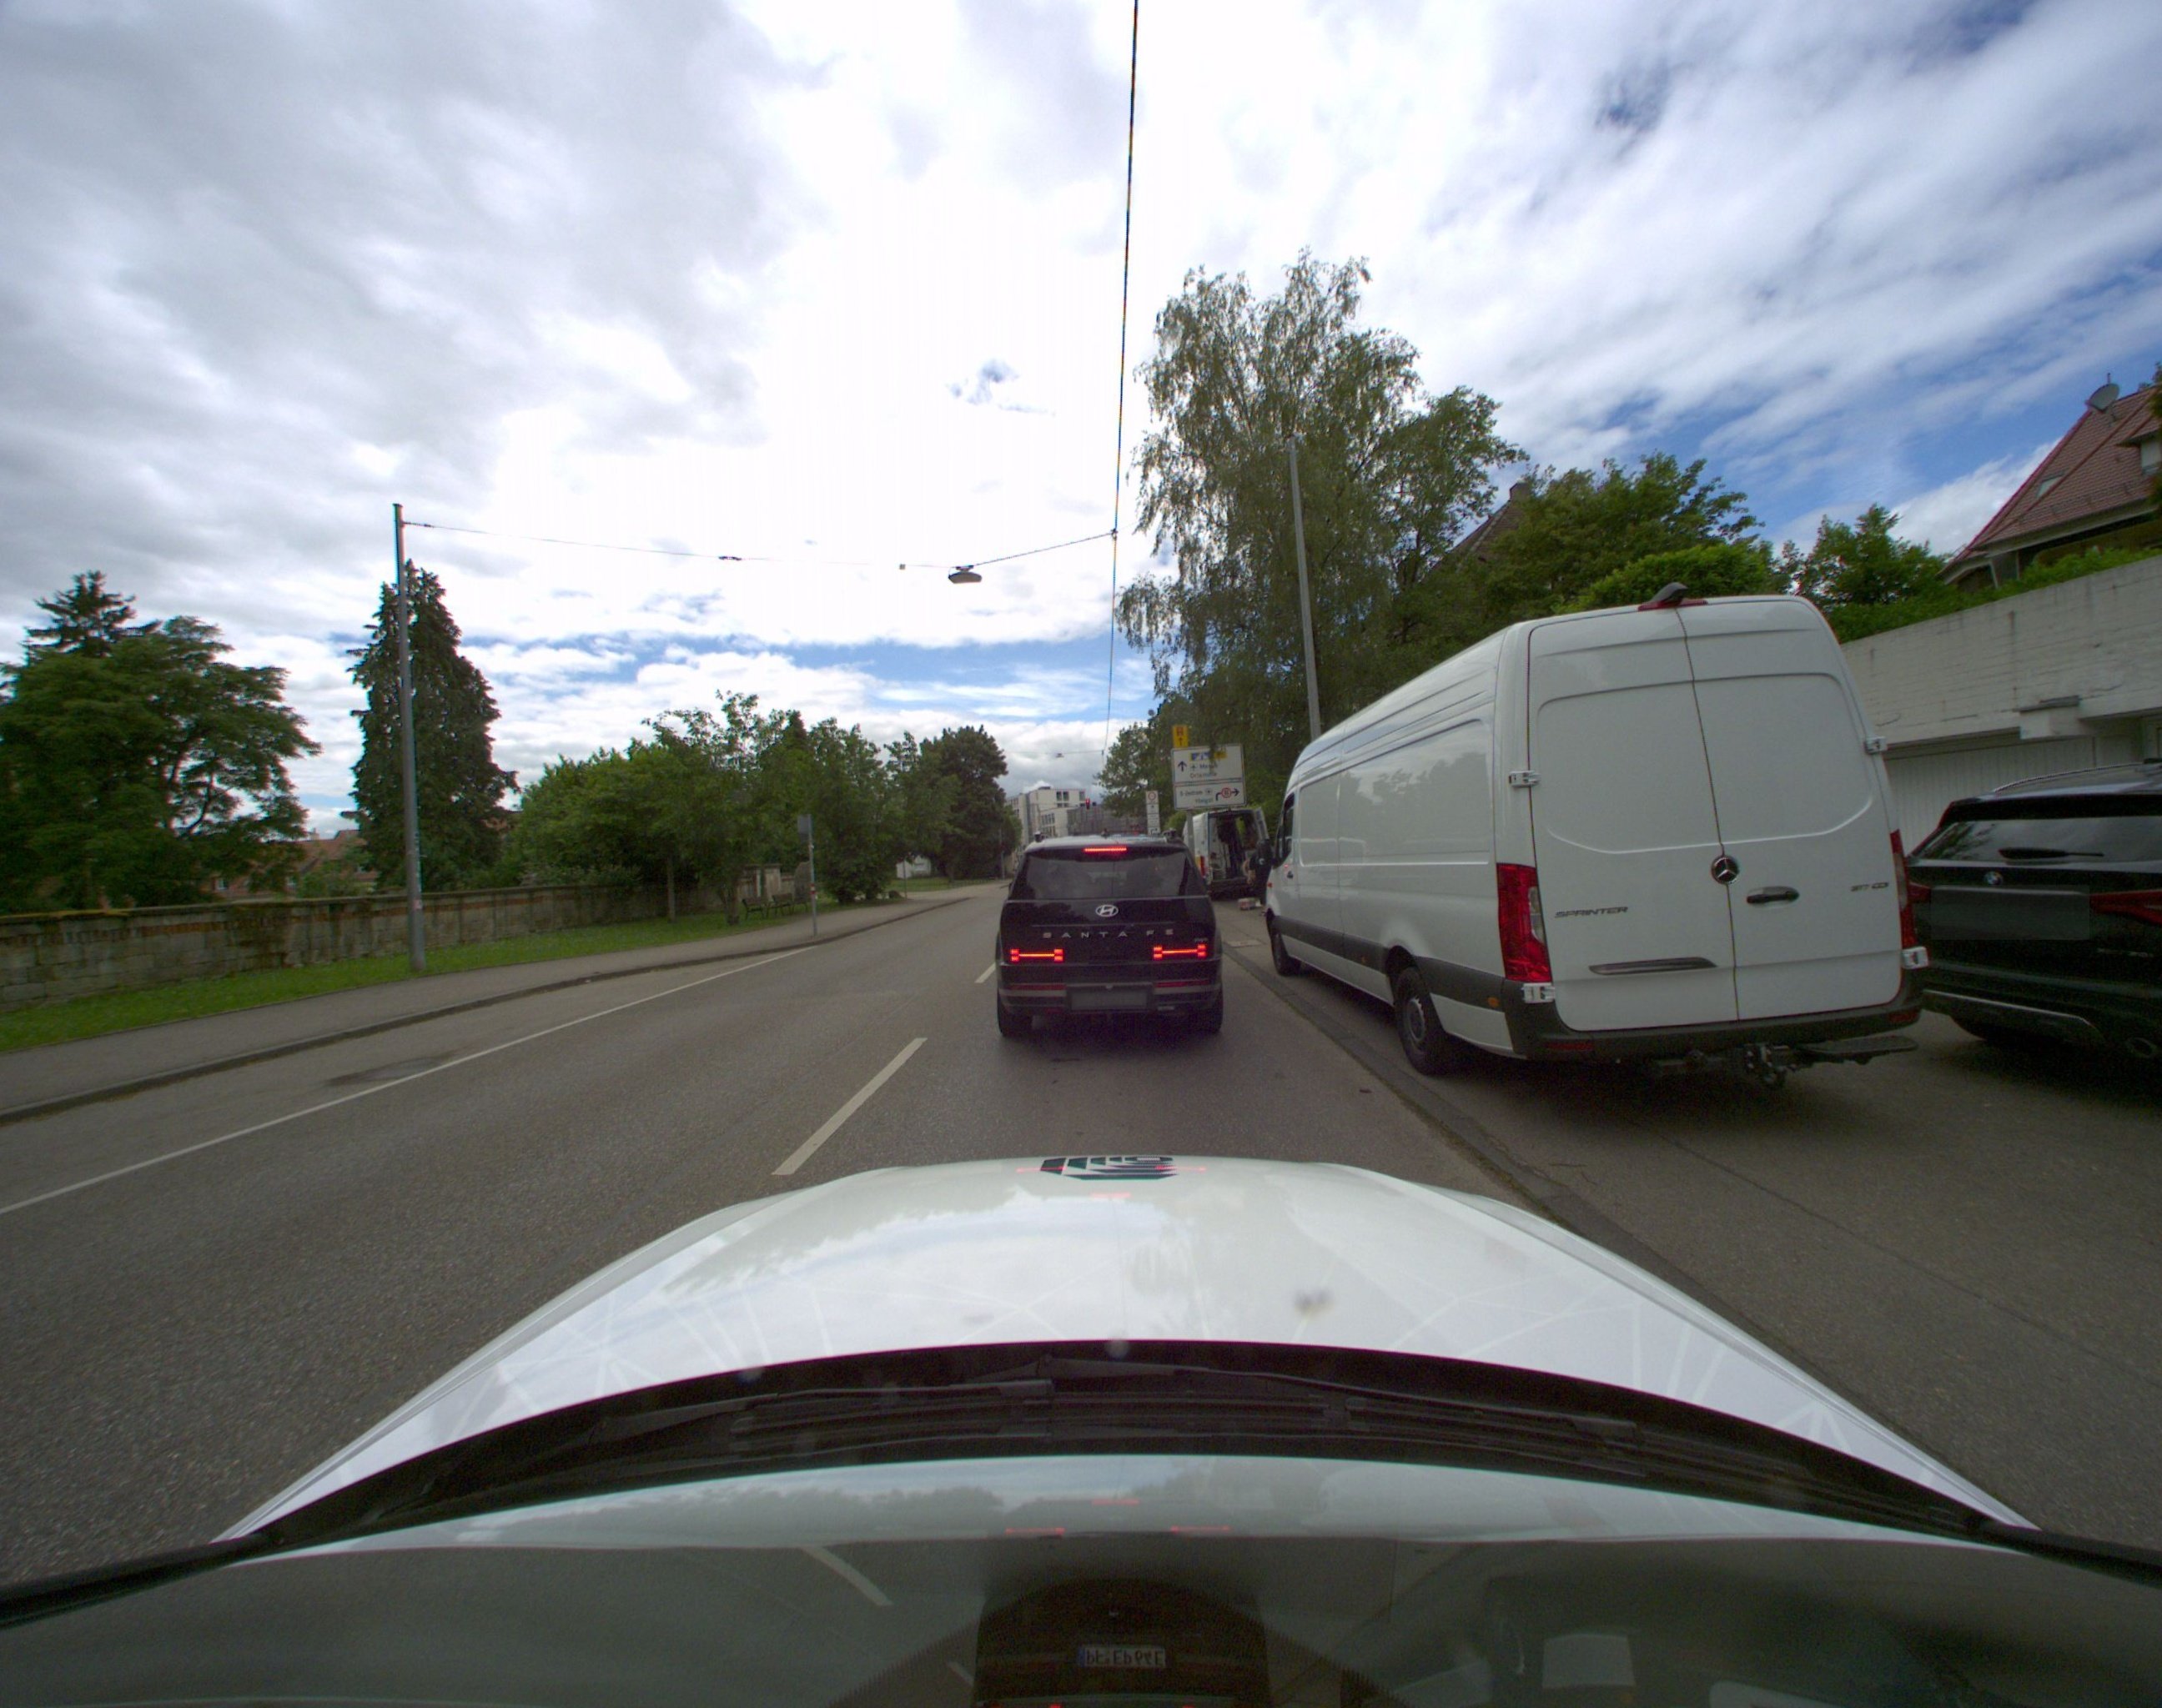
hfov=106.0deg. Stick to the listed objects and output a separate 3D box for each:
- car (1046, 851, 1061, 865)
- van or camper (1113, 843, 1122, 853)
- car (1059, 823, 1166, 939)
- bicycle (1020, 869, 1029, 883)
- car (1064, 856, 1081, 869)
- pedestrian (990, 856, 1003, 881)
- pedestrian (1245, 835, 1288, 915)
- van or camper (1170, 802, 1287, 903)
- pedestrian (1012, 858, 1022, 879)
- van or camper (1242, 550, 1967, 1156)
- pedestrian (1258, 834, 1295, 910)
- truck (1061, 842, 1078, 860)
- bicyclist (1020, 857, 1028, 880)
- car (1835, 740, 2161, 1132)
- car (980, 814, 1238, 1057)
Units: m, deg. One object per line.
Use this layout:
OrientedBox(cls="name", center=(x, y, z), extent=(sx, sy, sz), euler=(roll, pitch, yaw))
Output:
OrientedBox(cls="car", center=(-4.880, 0.676, 144.542), extent=(2.328, 2.315, 4.950), euler=(-3, 0, -4))
OrientedBox(cls="van or camper", center=(7.728, -1.212, 172.586), extent=(1.791, 1.999, 3.821), euler=(0, -1, -2))
OrientedBox(cls="car", center=(0.621, 0.493, 16.458), extent=(1.890, 2.042, 3.995), euler=(0, -1, 2))
OrientedBox(cls="bicycle", center=(-4.104, 1.600, 58.975), extent=(0.493, 0.964, 1.749), euler=(0, -1, 2))
OrientedBox(cls="car", center=(-1.033, 0.995, 98.058), extent=(1.750, 1.403, 4.416), euler=(-5, -1, 2))
OrientedBox(cls="pedestrian", center=(-6.712, 1.133, 64.752), extent=(0.826, 2.014, 1.048), euler=(0, -1, 4))
OrientedBox(cls="pedestrian", center=(4.014, 0.451, 17.708), extent=(0.732, 1.643, 0.803), euler=(-4, -1, 8))
OrientedBox(cls="van or camper", center=(4.348, 0.016, 25.315), extent=(2.332, 2.494, 6.603), euler=(-6, -1, 1))
OrientedBox(cls="pedestrian", center=(-5.454, 1.266, 69.307), extent=(0.764, 1.748, 0.904), euler=(-2, -1, 0))
OrientedBox(cls="van or camper", center=(3.067, 0.017, 7.057), extent=(1.984, 2.625, 6.546), euler=(-6, -1, 2))
OrientedBox(cls="pedestrian", center=(4.478, 0.408, 18.669), extent=(0.746, 1.721, 0.793), euler=(0, -1, 8))
OrientedBox(cls="truck", center=(-2.748, -0.743, 187.447), extent=(3.102, 3.859, 9.606), euler=(-3, 0, -4))
OrientedBox(cls="bicyclist", center=(-4.110, 1.036, 59.009), extent=(0.486, 1.684, 0.588), euler=(0, -1, 1))
OrientedBox(cls="car", center=(6.794, 0.216, 4.052), extent=(4.365, 1.675, 1.696), euler=(-4, -1, 2))
OrientedBox(cls="car", center=(0.268, 0.616, 7.994), extent=(1.890, 1.776, 3.995), euler=(0, -1, 2))
